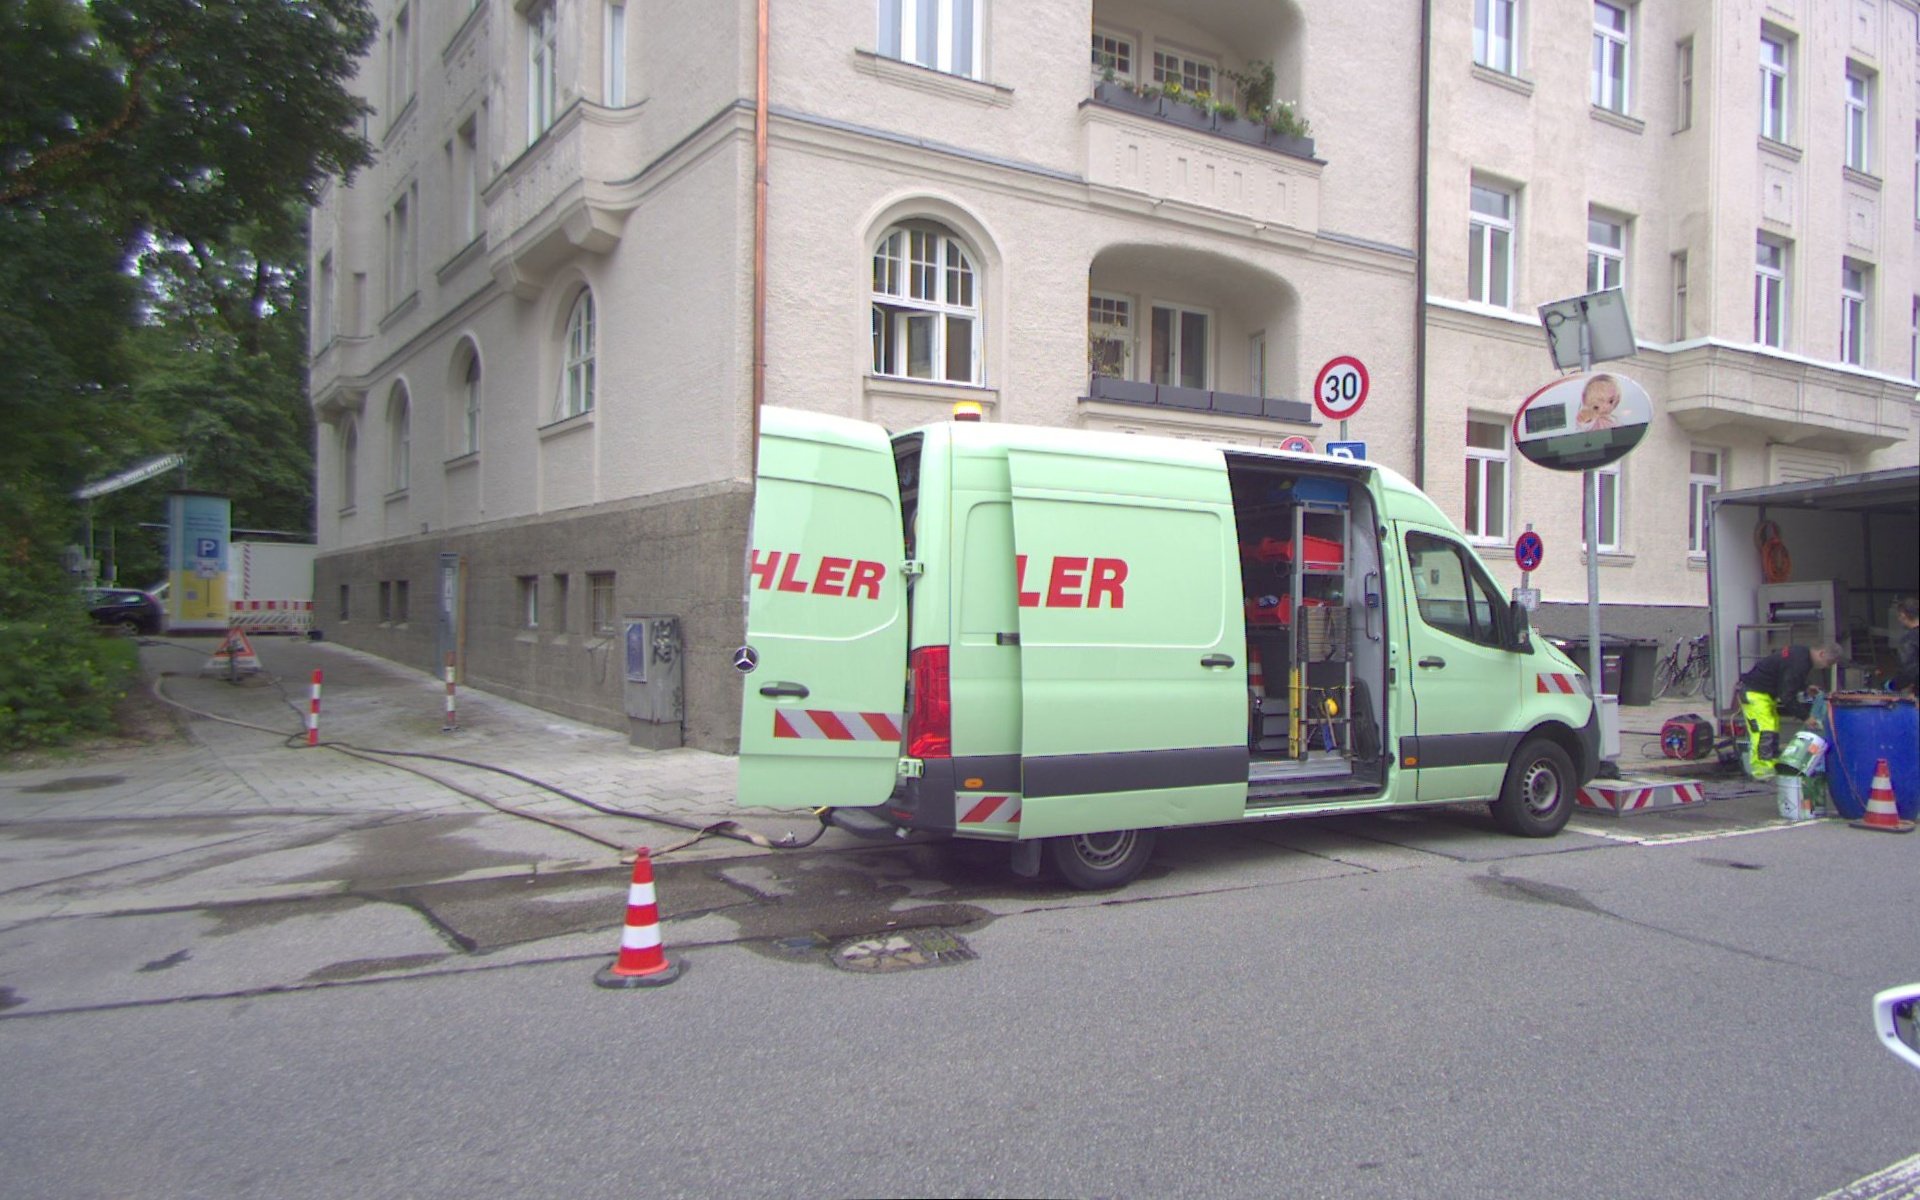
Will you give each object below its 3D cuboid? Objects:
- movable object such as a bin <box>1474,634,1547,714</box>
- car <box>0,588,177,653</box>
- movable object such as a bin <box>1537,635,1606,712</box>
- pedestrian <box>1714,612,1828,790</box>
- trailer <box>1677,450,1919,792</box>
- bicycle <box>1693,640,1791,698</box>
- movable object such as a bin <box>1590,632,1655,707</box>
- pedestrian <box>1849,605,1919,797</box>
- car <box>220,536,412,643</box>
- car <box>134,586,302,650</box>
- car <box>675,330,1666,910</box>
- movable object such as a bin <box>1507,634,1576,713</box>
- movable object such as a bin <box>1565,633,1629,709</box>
[{"bbox_3d":[8.201,1.086,14.976,0.720,1.143,0.647,1,-1,-22],"label":"movable object such as a bin"},{"bbox_3d":[-24.539,0.526,27.888,1.636,1.625,4.195,3,2,40],"label":"car"},{"bbox_3d":[9.409,1.118,15.461,0.629,1.143,0.675,1,-1,-22],"label":"movable object such as a bin"},{"bbox_3d":[7.715,0.924,9.556,0.632,1.601,0.754,1,-1,-42],"label":"pedestrian"},{"bbox_3d":[11.680,0.229,10.865,7.490,3.007,2.799,0,-3,-23],"label":"trailer"},{"bbox_3d":[13.381,1.189,17.188,1.561,0.927,0.395,2,3,-13],"label":"bicycle"},{"bbox_3d":[10.475,1.081,15.881,0.546,1.143,0.671,1,-1,-22],"label":"movable object such as a bin"},{"bbox_3d":[8.427,0.878,8.918,0.633,1.652,0.754,2,-1,-44],"label":"pedestrian"},{"bbox_3d":[-20.985,-0.261,32.871,2.448,3.216,4.781,0,-1,41],"label":"car"},{"bbox_3d":[-24.545,0.607,33.349,1.820,1.972,4.196,0,-1,40],"label":"car"},{"bbox_3d":[1.648,0.134,6.886,6.701,2.607,2.135,1,0,-25],"label":"car"},{"bbox_3d":[8.822,1.103,15.249,0.629,1.143,0.647,1,-1,-22],"label":"movable object such as a bin"},{"bbox_3d":[9.943,1.096,15.693,0.546,1.143,0.647,1,-1,-22],"label":"movable object such as a bin"}]
